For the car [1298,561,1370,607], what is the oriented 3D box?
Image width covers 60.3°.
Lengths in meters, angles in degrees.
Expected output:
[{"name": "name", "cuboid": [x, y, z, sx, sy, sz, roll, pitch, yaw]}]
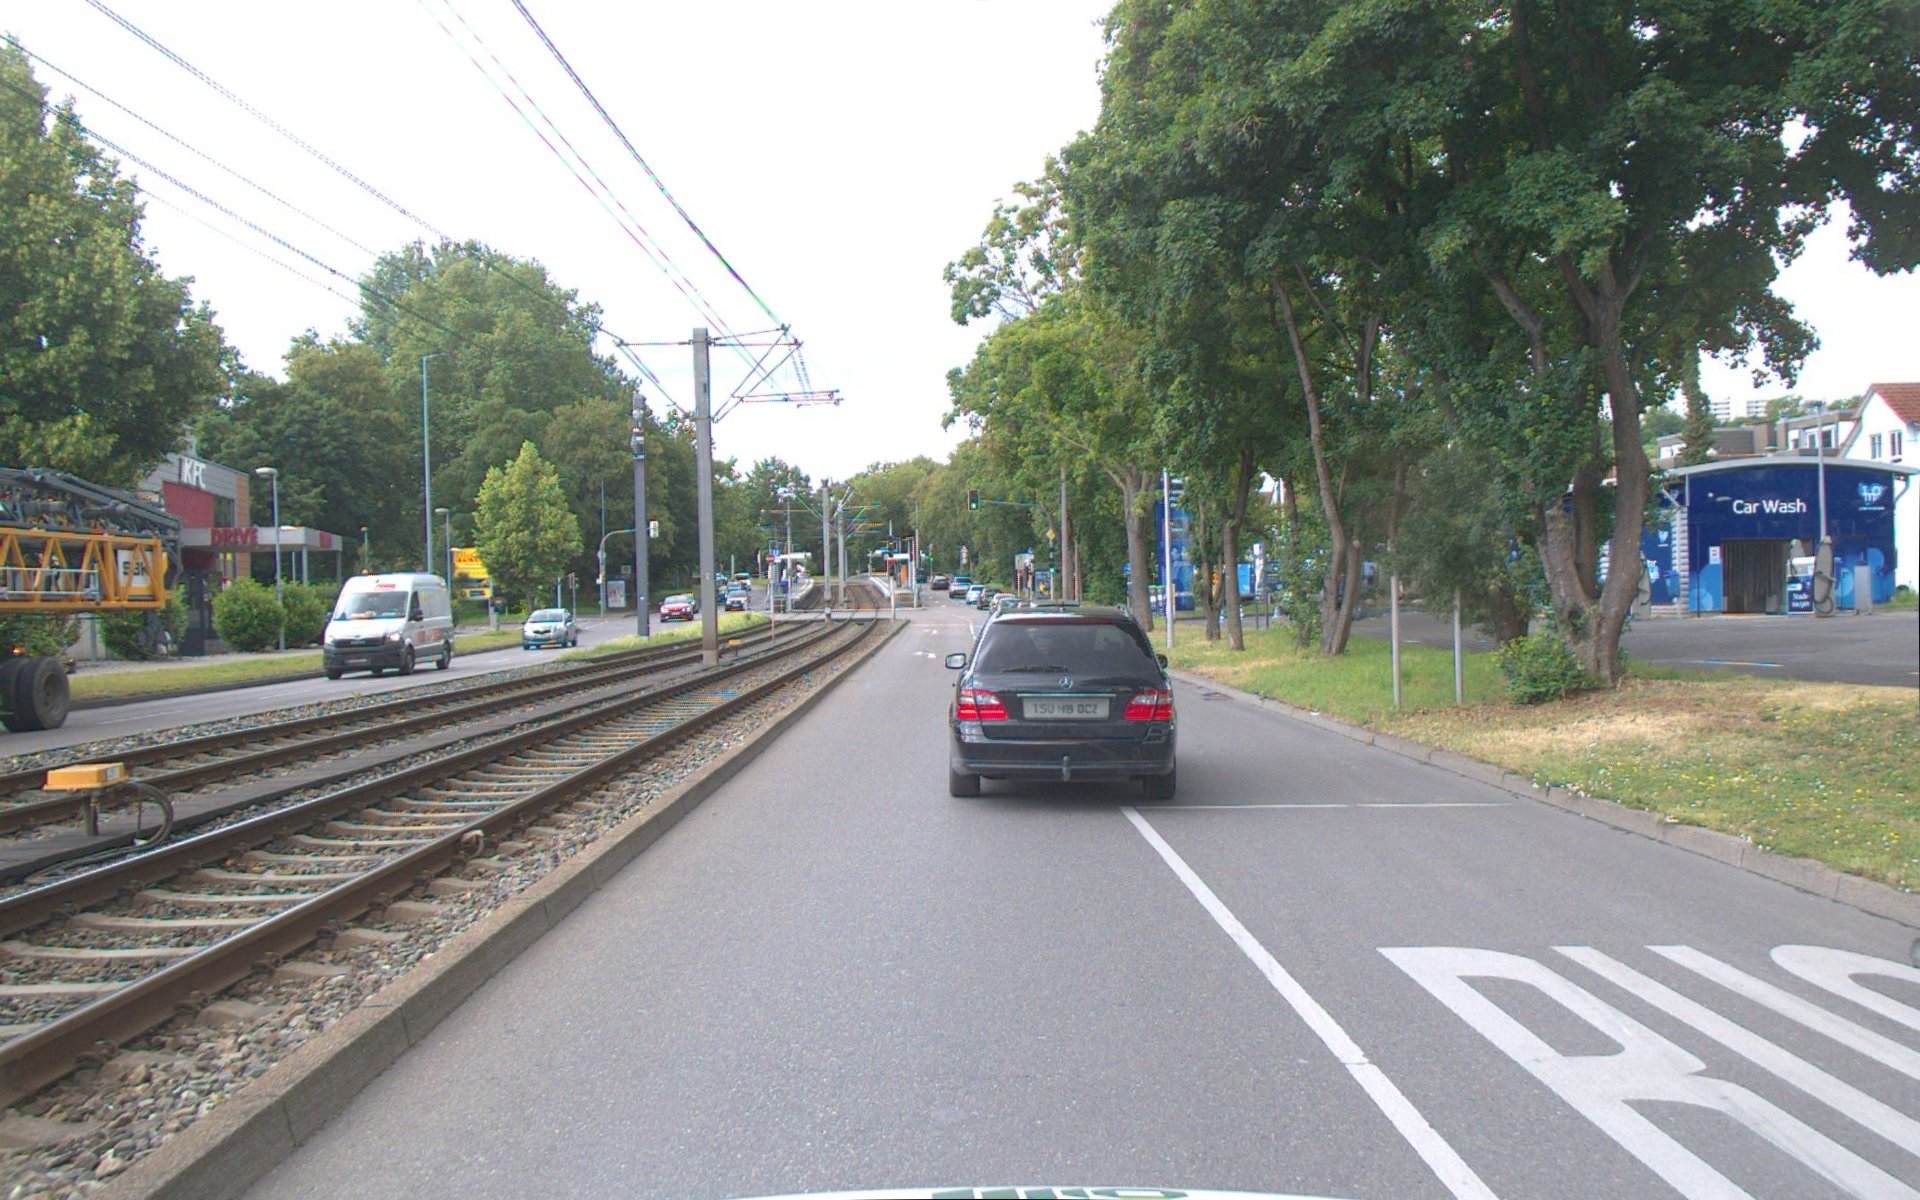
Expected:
[{"name": "car", "cuboid": [14.825, -0.638, 65.370, 1.965, 1.712, 4.578, -2, 0, 23]}]

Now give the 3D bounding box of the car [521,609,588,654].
[{"name": "car", "cuboid": [-15.902, 1.206, 64.997, 1.729, 1.676, 3.770, 0, 0, -1]}]

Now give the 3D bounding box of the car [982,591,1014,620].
[{"name": "car", "cuboid": [2.555, 0.379, 112.027, 1.953, 1.870, 3.999, 0, 0, -1]}]

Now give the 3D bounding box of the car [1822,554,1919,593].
[{"name": "car", "cuboid": [41.978, -1.213, 75.747, 4.132, 1.713, 1.776, 0, 0, -4]}]

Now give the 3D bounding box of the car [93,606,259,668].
[{"name": "car", "cuboid": [-22.740, 1.053, 48.095, 3.910, 1.627, 1.794, -2, 0, -6]}]

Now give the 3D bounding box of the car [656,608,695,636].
[{"name": "car", "cuboid": [-17.384, 1.327, 101.151, 1.729, 1.676, 3.770, 0, 0, -1]}]

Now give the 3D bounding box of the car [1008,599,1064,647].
[{"name": "car", "cuboid": [2.345, 0.700, 51.900, 1.539, 1.439, 3.353, 1, 0, -1]}]

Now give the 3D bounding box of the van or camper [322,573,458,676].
[{"name": "van or camper", "cuboid": [-14.539, 0.582, 42.540, 1.955, 2.395, 5.758, -2, 0, -6]}]

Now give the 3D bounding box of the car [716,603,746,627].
[{"name": "car", "cuboid": [-16.846, 1.093, 121.904, 1.729, 1.676, 3.770, 0, 0, -1]}]

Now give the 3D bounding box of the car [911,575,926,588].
[{"name": "car", "cuboid": [-4.995, -2.208, 199.281, 1.634, 1.559, 3.767, 0, 0, -4]}]

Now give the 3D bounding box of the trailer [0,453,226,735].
[{"name": "trailer", "cuboid": [-14.107, -0.049, 22.928, 2.651, 3.724, 13.288, -2, 0, -4]}]

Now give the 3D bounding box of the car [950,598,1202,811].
[{"name": "car", "cuboid": [0.813, 0.741, 13.698, 1.771, 1.500, 3.880, 0, 0, -1]}]

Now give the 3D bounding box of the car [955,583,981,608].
[{"name": "car", "cuboid": [0.627, -0.330, 128.372, 1.953, 1.870, 3.999, 0, 0, -1]}]

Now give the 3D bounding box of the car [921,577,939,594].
[{"name": "car", "cuboid": [-3.371, -1.602, 184.633, 1.953, 1.870, 3.999, 0, 0, -1]}]

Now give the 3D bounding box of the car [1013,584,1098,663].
[{"name": "car", "cuboid": [2.231, 0.546, 39.361, 1.744, 1.781, 3.717, 1, 0, -1]}]

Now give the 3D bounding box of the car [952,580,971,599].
[{"name": "car", "cuboid": [0.139, -0.888, 143.452, 1.616, 1.581, 3.647, 0, 0, -1]}]
